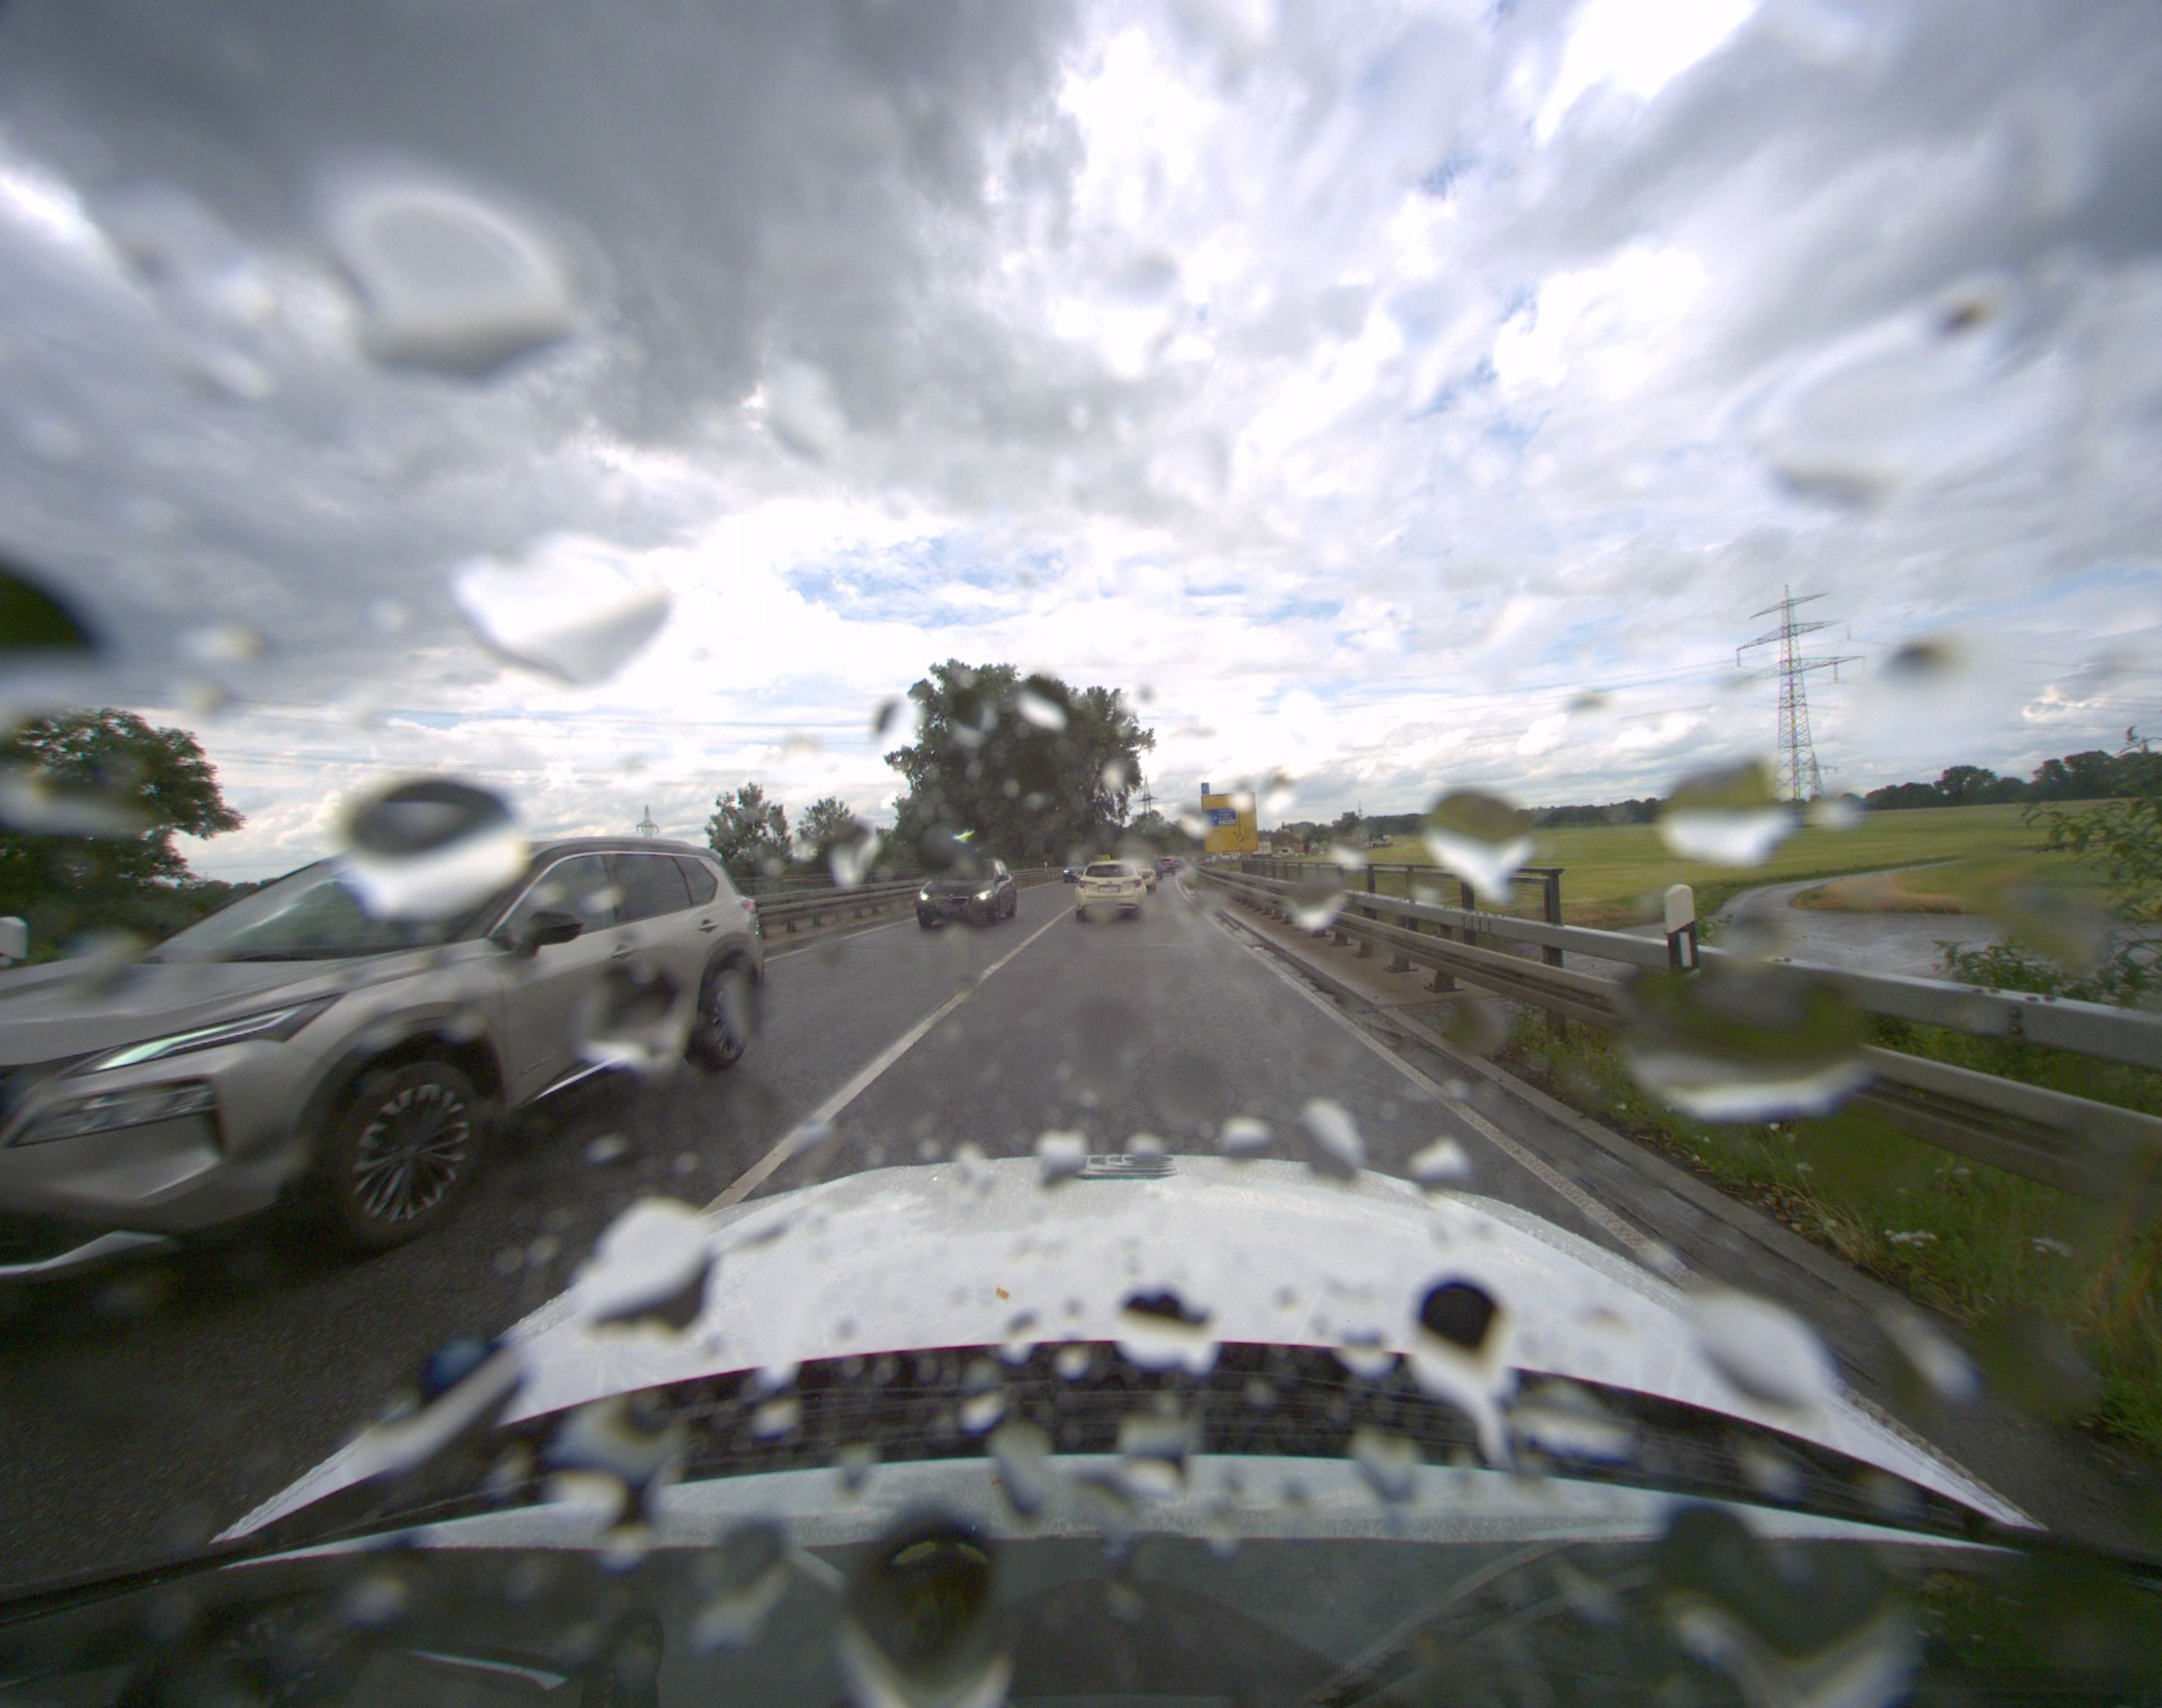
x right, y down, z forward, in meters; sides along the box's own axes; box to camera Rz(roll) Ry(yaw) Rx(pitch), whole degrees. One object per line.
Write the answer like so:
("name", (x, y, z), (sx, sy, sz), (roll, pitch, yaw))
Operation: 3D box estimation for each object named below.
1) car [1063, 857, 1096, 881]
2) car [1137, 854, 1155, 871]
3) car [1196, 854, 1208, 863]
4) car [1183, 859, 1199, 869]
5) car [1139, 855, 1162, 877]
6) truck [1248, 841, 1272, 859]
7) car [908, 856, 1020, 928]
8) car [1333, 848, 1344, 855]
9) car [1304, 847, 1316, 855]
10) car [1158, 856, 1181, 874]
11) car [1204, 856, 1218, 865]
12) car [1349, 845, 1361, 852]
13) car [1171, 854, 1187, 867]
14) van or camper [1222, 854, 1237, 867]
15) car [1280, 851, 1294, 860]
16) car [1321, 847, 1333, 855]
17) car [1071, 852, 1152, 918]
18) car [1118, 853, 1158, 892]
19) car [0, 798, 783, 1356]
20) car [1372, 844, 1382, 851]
("car", (-0.070, 0.929, 51.914), (1.827, 1.443, 4.107), (-1, -1, 4))
("car", (7.857, 0.970, 97.701), (1.851, 1.892, 4.499), (-1, 0, 8))
("car", (22.610, 0.836, 152.246), (1.504, 1.721, 3.438), (-1, -1, 20))
("car", (14.498, 1.347, 107.014), (1.471, 1.309, 3.492), (-1, -1, 17))
("car", (4.641, 0.791, 54.869), (1.499, 1.437, 3.359), (-1, -1, 4))
("truck", (36.757, -0.810, 166.865), (3.111, 3.562, 7.565), (-1, -1, 26))
("car", (-2.703, 0.837, 19.769), (1.891, 1.541, 4.027), (-1, 0, 3))
("car", (69.743, -0.655, 220.625), (1.974, 2.014, 4.024), (-1, -1, 29))
("car", (56.713, -0.702, 201.477), (1.974, 2.014, 4.025), (-1, -1, 30))
("car", (7.489, 0.954, 68.840), (1.655, 1.464, 3.486), (-1, -1, 9))
("car", (19.854, 0.957, 124.361), (1.470, 1.309, 3.494), (-1, -1, 20))
("car", (77.052, -1.515, 229.310), (1.974, 2.014, 4.025), (-2, -1, 38))
("car", (11.116, 0.741, 91.880), (1.651, 1.409, 3.913), (-1, -1, 8))
("van or camper", (25.507, 1.110, 139.828), (1.977, 2.254, 4.019), (-1, -1, 20))
("car", (47.276, 0.421, 186.670), (2.146, 2.014, 4.024), (-1, -1, 28))
("car", (64.547, -0.663, 213.675), (2.204, 2.014, 4.024), (-1, -1, 29))
("car", (0.826, 0.759, 21.563), (1.898, 1.537, 4.164), (-1, -1, 3))
("car", (2.438, 0.768, 34.674), (1.571, 1.572, 3.686), (-1, -1, 5))
("car", (-3.510, 0.674, 4.692), (1.834, 1.700, 4.391), (0, 0, 2))
("car", (90.069, -2.015, 247.595), (1.745, 2.013, 4.026), (-1, 0, 37))
